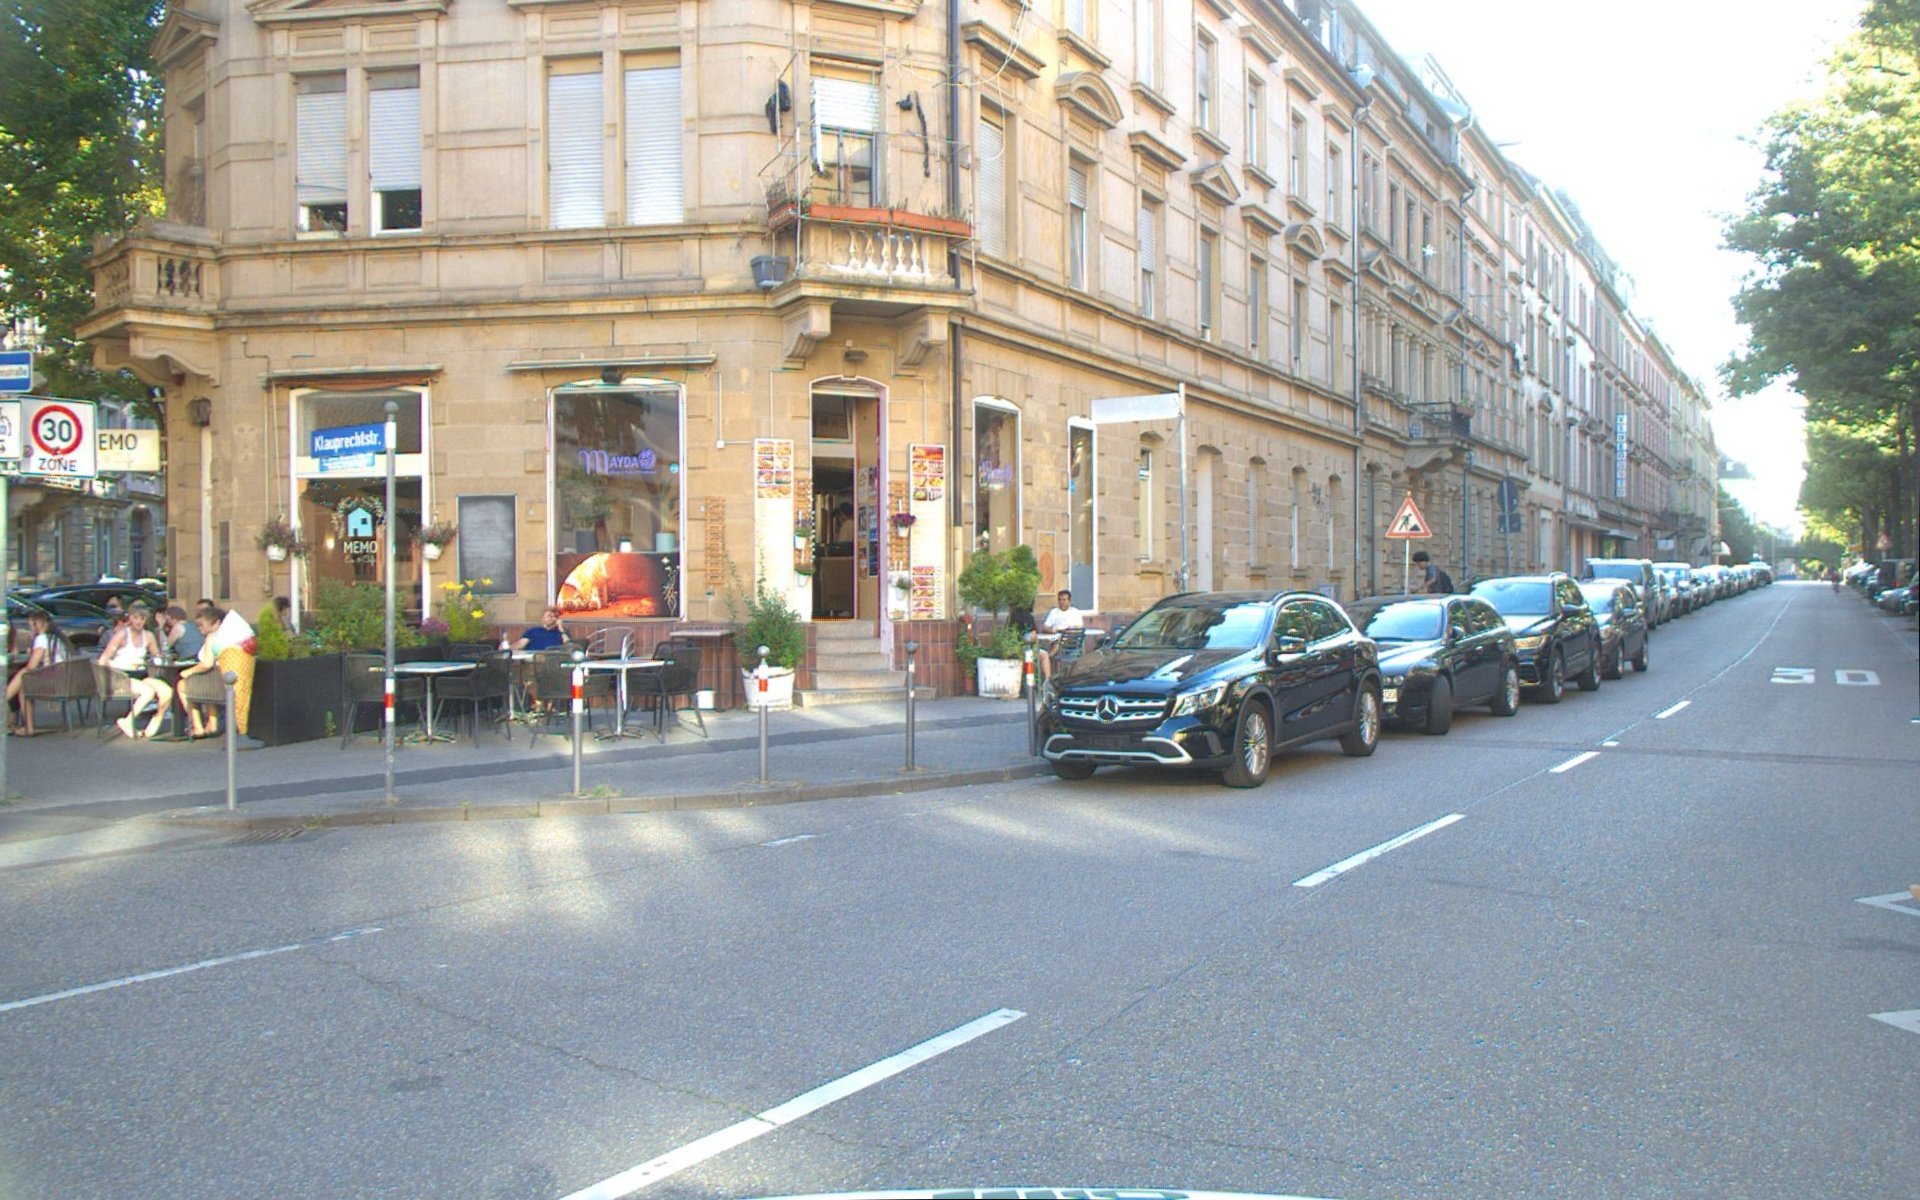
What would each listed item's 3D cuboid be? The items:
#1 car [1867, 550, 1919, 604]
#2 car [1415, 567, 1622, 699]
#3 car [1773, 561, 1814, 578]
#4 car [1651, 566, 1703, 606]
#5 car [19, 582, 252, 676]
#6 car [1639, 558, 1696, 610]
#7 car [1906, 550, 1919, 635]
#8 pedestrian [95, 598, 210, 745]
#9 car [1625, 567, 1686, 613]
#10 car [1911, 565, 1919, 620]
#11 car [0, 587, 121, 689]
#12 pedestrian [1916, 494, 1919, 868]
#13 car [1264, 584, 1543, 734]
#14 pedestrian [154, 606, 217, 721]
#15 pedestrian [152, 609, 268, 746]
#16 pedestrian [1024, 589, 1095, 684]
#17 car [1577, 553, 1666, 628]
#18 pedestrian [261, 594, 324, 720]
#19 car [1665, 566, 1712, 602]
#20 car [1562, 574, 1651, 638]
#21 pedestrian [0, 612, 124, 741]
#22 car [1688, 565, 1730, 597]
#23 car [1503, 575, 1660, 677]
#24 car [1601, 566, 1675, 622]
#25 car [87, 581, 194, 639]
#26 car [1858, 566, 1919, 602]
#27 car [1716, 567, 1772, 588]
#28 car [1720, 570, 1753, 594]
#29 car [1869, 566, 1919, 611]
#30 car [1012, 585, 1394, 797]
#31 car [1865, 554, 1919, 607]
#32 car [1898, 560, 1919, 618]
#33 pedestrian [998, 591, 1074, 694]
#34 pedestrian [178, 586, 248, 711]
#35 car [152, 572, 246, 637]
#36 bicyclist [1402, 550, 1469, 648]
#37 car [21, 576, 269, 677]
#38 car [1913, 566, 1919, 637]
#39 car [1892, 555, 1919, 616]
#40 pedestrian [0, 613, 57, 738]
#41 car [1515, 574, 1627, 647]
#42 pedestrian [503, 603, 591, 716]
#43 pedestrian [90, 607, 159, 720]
[{"bbox_3d":[37.261,-0.961,62.642,4.960,1.959,1.833,-3,0,28],"label":"car"},{"bbox_3d":[7.887,0.396,23.075,1.727,1.628,4.539,-2,0,32],"label":"car"},{"bbox_3d":[92.833,-3.406,184.234,3.920,1.891,1.744,1,1,36],"label":"car"},{"bbox_3d":[28.949,-0.581,66.697,1.724,1.498,4.056,-1,1,26],"label":"car"},{"bbox_3d":[-16.286,0.525,32.702,3.950,1.713,1.978,-1,0,-33],"label":"car"},{"bbox_3d":[26.688,-0.626,62.314,1.724,1.874,4.526,-1,1,26],"label":"car"},{"bbox_3d":[24.673,-0.315,38.508,4.356,1.957,1.849,-4,0,26],"label":"car"},{"bbox_3d":[-8.165,0.708,16.741,0.738,1.435,0.728,-1,0,16],"label":"pedestrian"},{"bbox_3d":[24.380,-0.370,57.943,1.724,1.492,3.997,1,2,26],"label":"car"},{"bbox_3d":[28.300,-0.291,45.143,3.933,1.493,1.731,-3,-1,28],"label":"car"},{"bbox_3d":[-15.699,0.603,26.469,3.796,1.589,1.779,-1,0,-38],"label":"car"},{"bbox_3d":[4.803,0.486,7.167,1.093,1.932,0.841,-1,0,28],"label":"pedestrian"},{"bbox_3d":[5.171,0.583,18.837,1.727,1.477,4.537,-2,0,33],"label":"car"},{"bbox_3d":[-8.789,0.711,18.774,0.471,1.270,0.433,-1,1,26],"label":"pedestrian"},{"bbox_3d":[-7.421,0.752,16.386,0.727,1.312,0.743,-1,0,18],"label":"pedestrian"},{"bbox_3d":[1.339,0.481,22.139,0.711,1.235,0.756,-1,0,26],"label":"pedestrian"},{"bbox_3d":[18.769,-0.314,46.801,1.797,1.977,5.254,1,2,27],"label":"car"},{"bbox_3d":[-7.550,0.640,18.713,0.470,1.391,0.434,-1,1,20],"label":"pedestrian"},{"bbox_3d":[31.775,-0.713,72.095,1.724,1.498,4.056,-1,1,26],"label":"car"},{"bbox_3d":[16.370,0.109,41.777,1.563,1.501,3.693,1,2,30],"label":"car"},{"bbox_3d":[-9.338,0.777,17.122,1.001,1.270,0.749,-1,1,25],"label":"pedestrian"},{"bbox_3d":[37.080,-0.957,81.855,1.724,1.498,4.056,-1,1,26],"label":"car"},{"bbox_3d":[10.378,0.388,27.455,1.726,1.527,4.051,-2,0,31],"label":"car"},{"bbox_3d":[21.394,-0.222,52.113,1.720,1.636,4.378,1,2,28],"label":"car"},{"bbox_3d":[-25.452,0.277,51.494,1.772,1.713,3.747,-1,0,-6],"label":"car"},{"bbox_3d":[37.834,-0.672,65.587,3.773,1.316,1.717,-3,0,25],"label":"car"},{"bbox_3d":[58.948,-1.701,124.350,3.945,1.512,1.980,0,-1,-30],"label":"car"},{"bbox_3d":[54.081,-1.232,115.131,1.955,1.512,3.995,-1,-1,27],"label":"car"},{"bbox_3d":[32.498,-0.454,54.583,4.136,1.428,1.834,-3,0,24],"label":"car"},{"bbox_3d":[2.230,0.663,14.176,1.726,1.514,4.129,-2,0,32],"label":"car"},{"bbox_3d":[35.188,-0.776,59.525,4.131,1.826,1.837,-3,0,9],"label":"car"},{"bbox_3d":[29.200,-0.397,47.386,3.933,1.635,1.731,-3,-1,28],"label":"car"},{"bbox_3d":[0.974,0.527,21.027,0.711,1.281,0.756,-1,0,26],"label":"pedestrian"},{"bbox_3d":[-8.862,0.565,19.633,0.556,1.456,0.482,-1,1,17],"label":"pedestrian"},{"bbox_3d":[-26.149,0.136,56.967,1.772,2.121,3.747,-1,0,-6],"label":"car"},{"bbox_3d":[9.127,-0.004,31.743,0.977,1.821,1.205,-1,-2,28],"label":"bicyclist"},{"bbox_3d":[-14.864,0.451,30.425,3.933,1.713,1.986,-1,0,-23],"label":"car"},{"bbox_3d":[23.452,-0.082,36.262,4.260,1.583,1.848,-4,0,28],"label":"car"},{"bbox_3d":[30.573,-0.540,49.853,4.139,1.807,1.833,-3,0,27],"label":"car"},{"bbox_3d":[-10.143,0.791,17.500,0.690,1.270,0.748,-1,1,26],"label":"pedestrian"},{"bbox_3d":[14.029,0.208,37.858,1.726,1.527,4.052,-2,0,30],"label":"car"},{"bbox_3d":[-4.670,0.664,18.743,0.710,1.235,0.757,-1,0,9],"label":"pedestrian"},{"bbox_3d":[-9.669,0.724,19.140,0.471,1.270,0.510,-1,1,26],"label":"pedestrian"}]
